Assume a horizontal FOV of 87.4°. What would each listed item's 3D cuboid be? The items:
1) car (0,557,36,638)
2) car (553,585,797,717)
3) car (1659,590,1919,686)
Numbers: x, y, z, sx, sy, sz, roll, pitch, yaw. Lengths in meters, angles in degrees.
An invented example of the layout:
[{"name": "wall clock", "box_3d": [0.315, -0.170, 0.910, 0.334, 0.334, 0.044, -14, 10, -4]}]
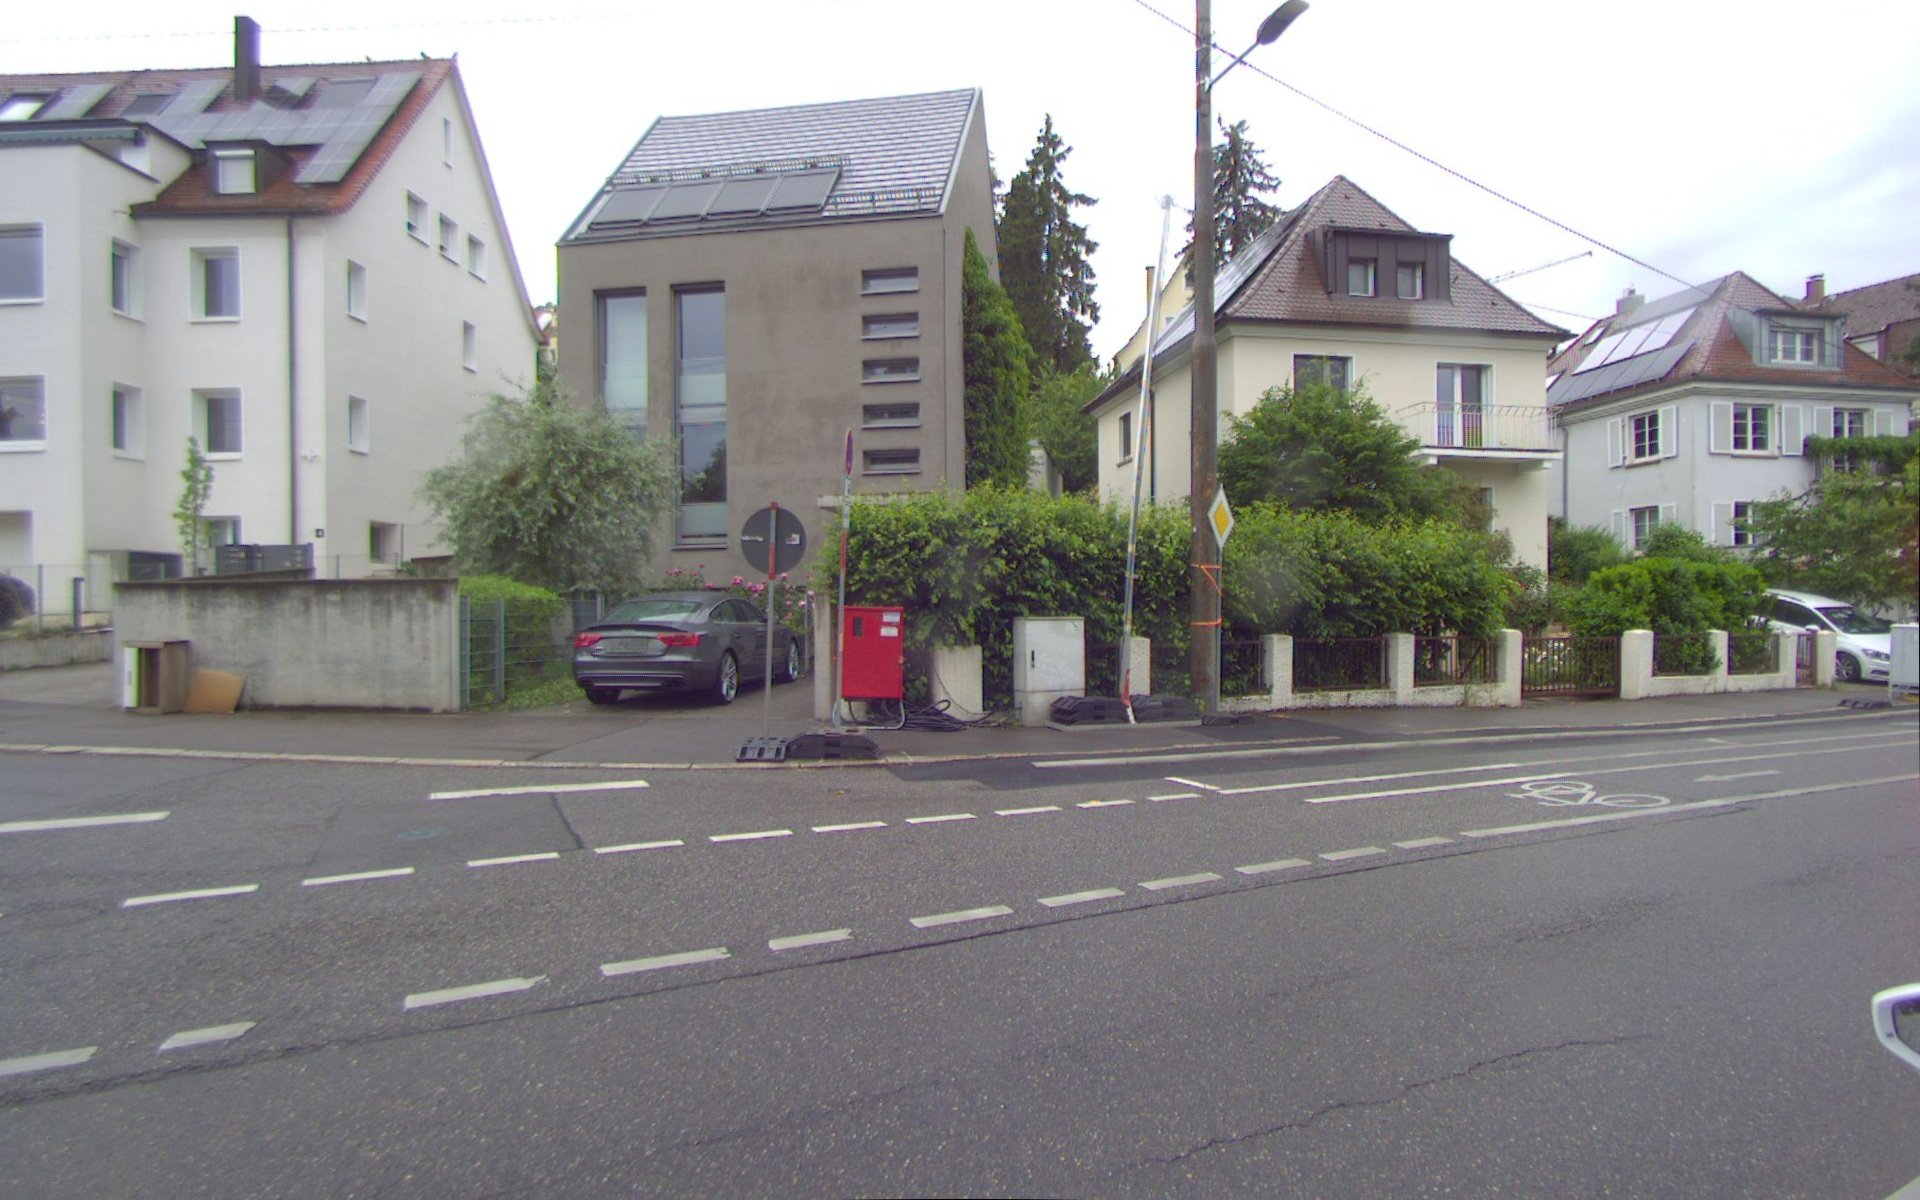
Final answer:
[{"name": "car", "box_3d": [-16.746, 0.044, 15.172, 1.576, 1.298, 4.008, 2, 4, 6]}, {"name": "car", "box_3d": [-3.622, 0.559, 13.579, 1.740, 1.506, 4.002, 0, 1, 7]}, {"name": "car", "box_3d": [19.582, 0.813, 23.916, 1.870, 2.033, 4.628, 1, 0, -18]}]
